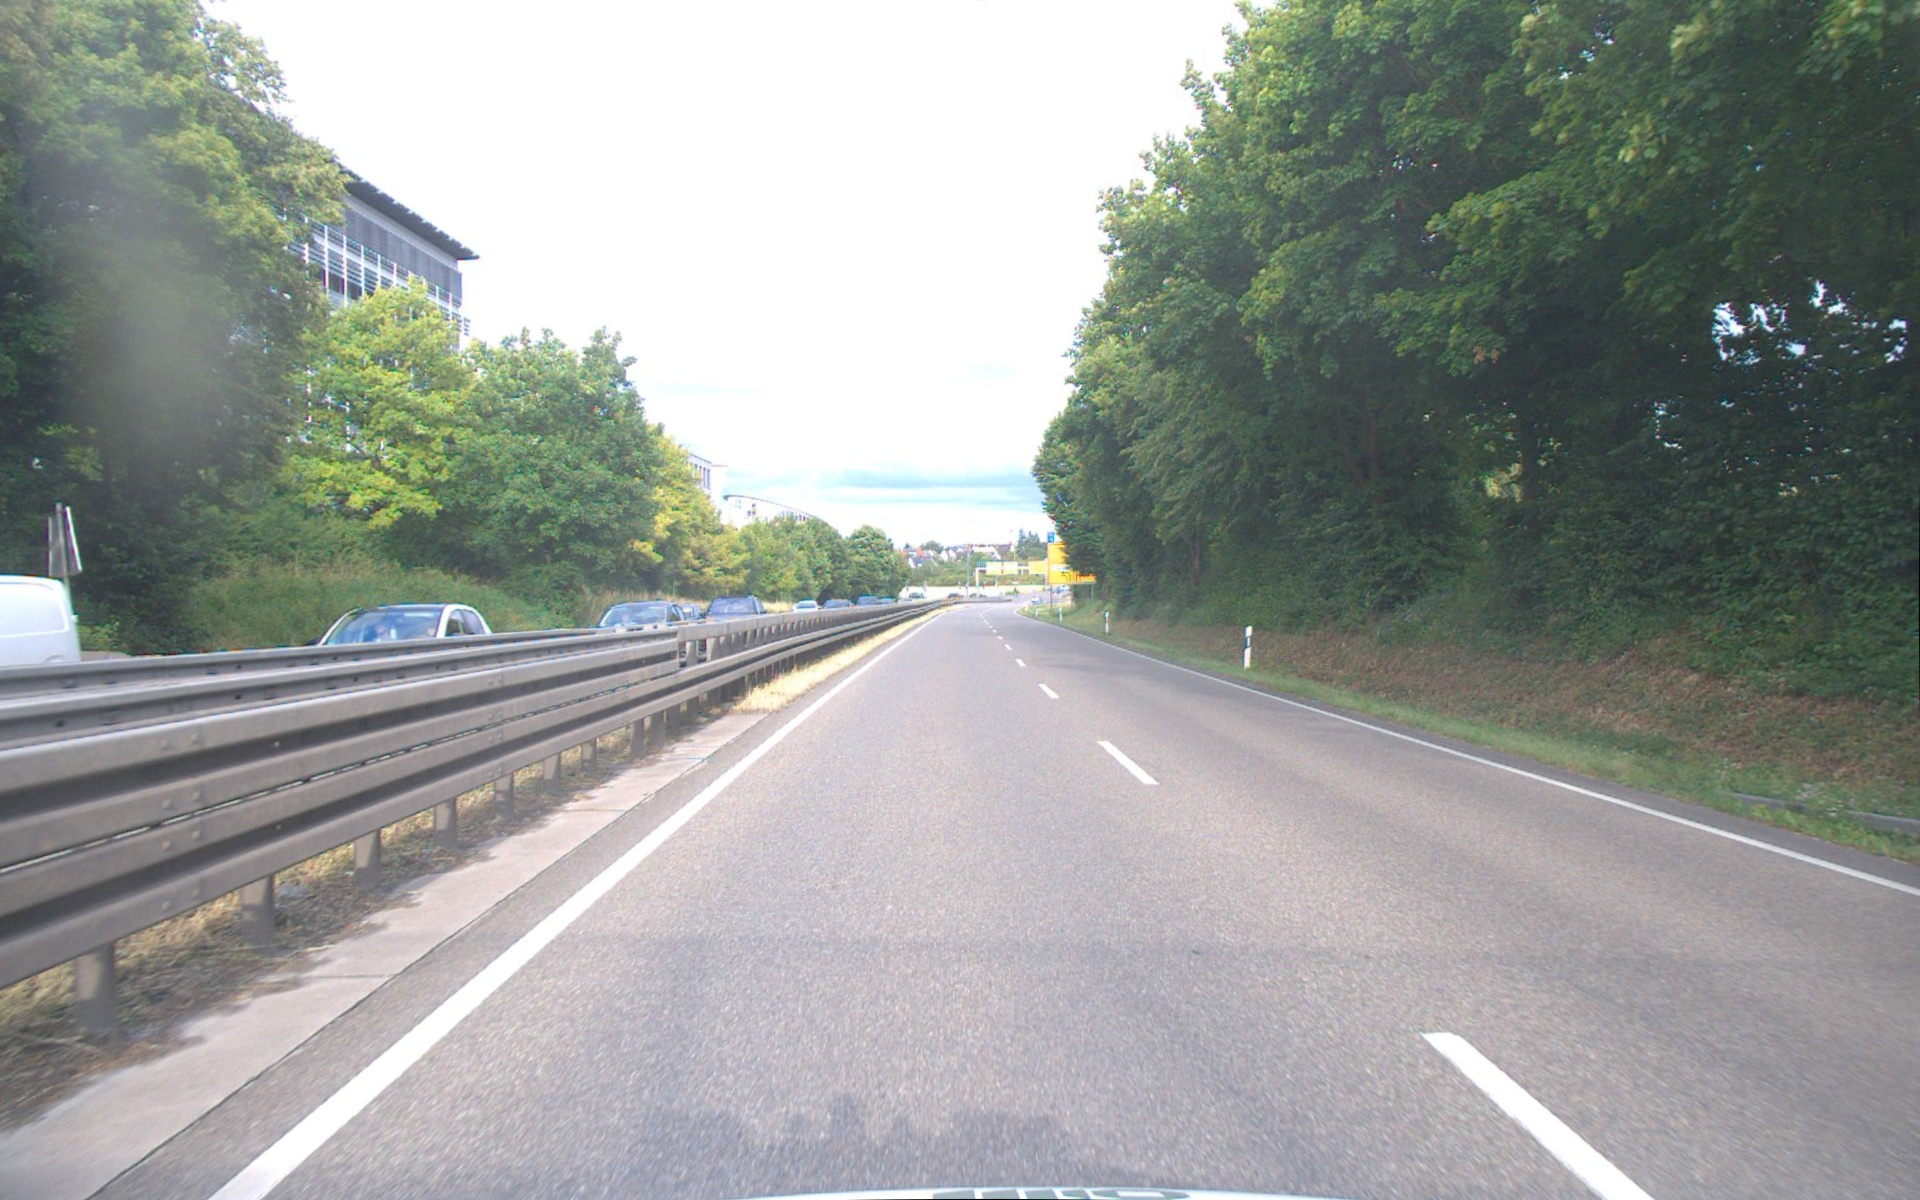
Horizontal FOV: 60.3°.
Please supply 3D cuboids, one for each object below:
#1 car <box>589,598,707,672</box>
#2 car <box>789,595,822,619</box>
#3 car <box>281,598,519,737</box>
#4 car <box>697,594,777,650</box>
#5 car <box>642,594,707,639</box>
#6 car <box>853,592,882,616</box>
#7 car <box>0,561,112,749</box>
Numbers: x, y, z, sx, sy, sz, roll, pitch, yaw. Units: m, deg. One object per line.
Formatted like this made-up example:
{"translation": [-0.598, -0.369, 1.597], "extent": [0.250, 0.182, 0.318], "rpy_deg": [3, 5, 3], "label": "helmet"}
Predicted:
{"translation": [-6.123, 0.649, 32.806], "extent": [1.641, 1.376, 3.831], "rpy_deg": [-1, 0, -1], "label": "car"}
{"translation": [-10.409, 0.447, 111.643], "extent": [1.780, 1.511, 4.417], "rpy_deg": [2, 0, 0], "label": "car"}
{"translation": [-6.653, 0.745, 20.030], "extent": [1.647, 1.512, 3.646], "rpy_deg": [0, 0, 0], "label": "car"}
{"translation": [-6.645, 0.623, 49.639], "extent": [1.783, 1.611, 4.316], "rpy_deg": [-1, 0, 0], "label": "car"}
{"translation": [-10.608, 0.583, 61.675], "extent": [1.707, 1.617, 4.311], "rpy_deg": [0, 0, -1], "label": "car"}
{"translation": [-6.637, 0.306, 119.225], "extent": [1.707, 1.673, 5.279], "rpy_deg": [-1, 0, 0], "label": "car"}
{"translation": [-10.556, 0.560, 16.415], "extent": [1.829, 1.888, 4.623], "rpy_deg": [0, 0, 1], "label": "car"}
